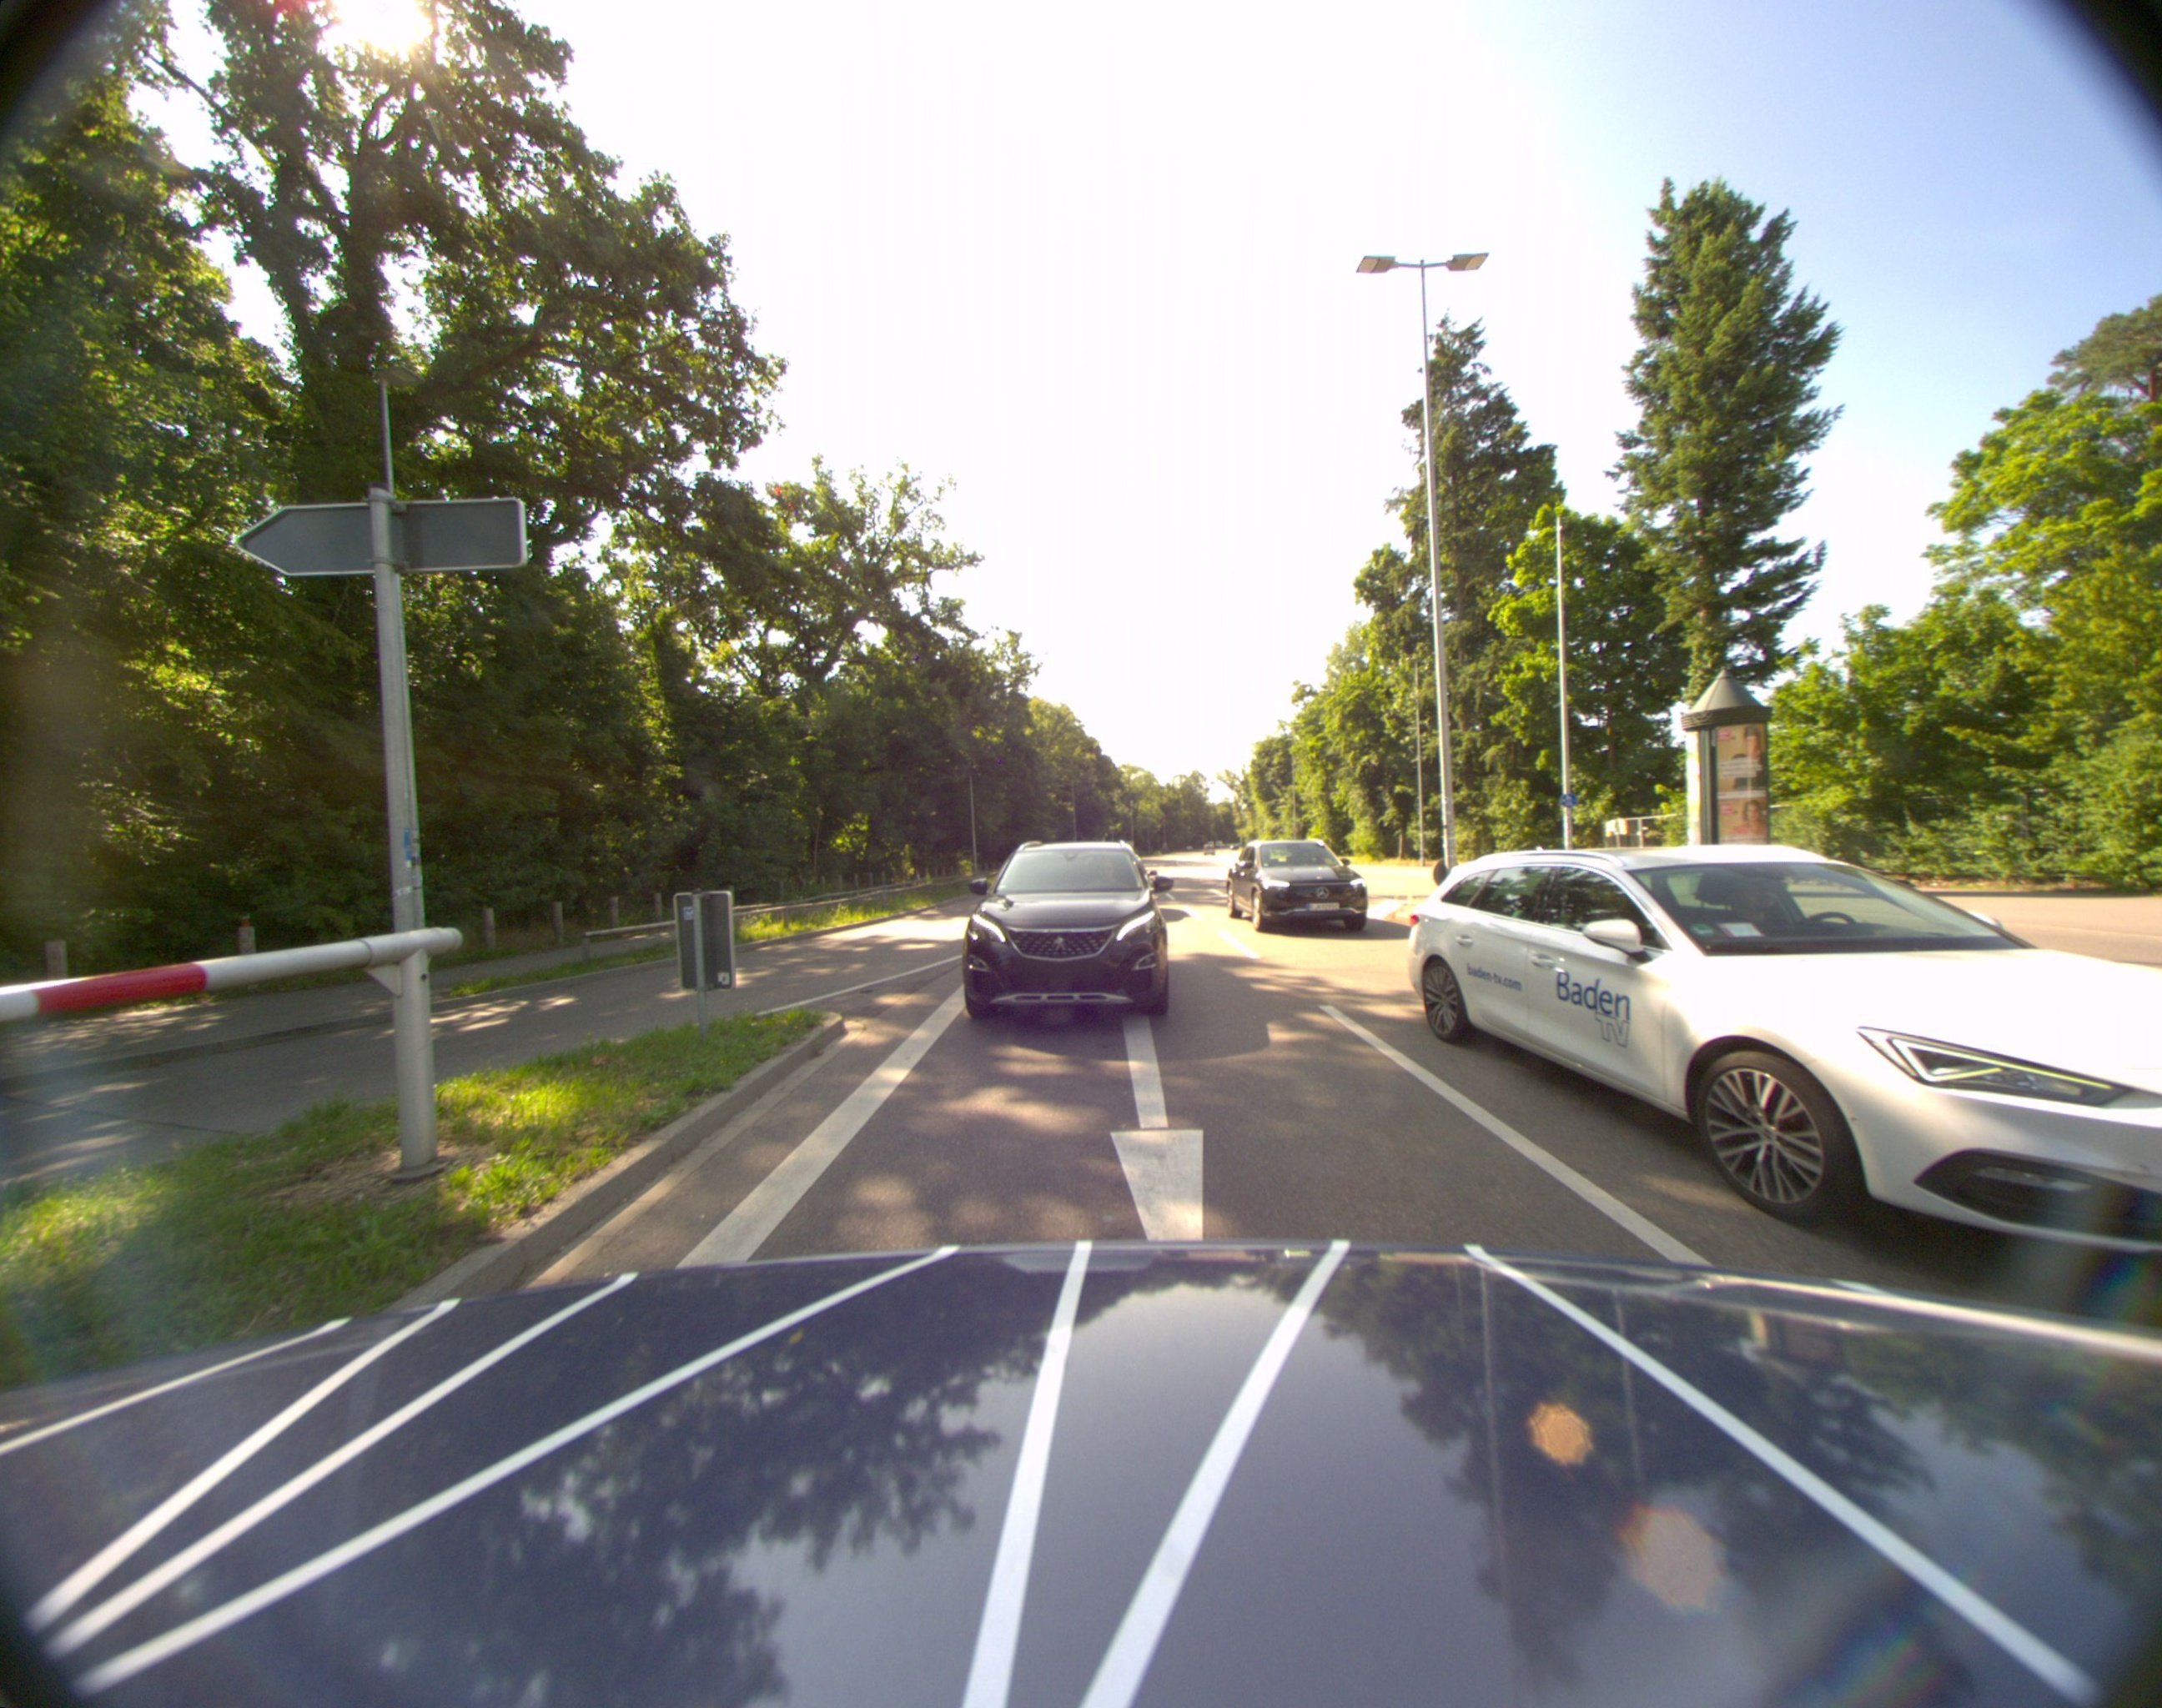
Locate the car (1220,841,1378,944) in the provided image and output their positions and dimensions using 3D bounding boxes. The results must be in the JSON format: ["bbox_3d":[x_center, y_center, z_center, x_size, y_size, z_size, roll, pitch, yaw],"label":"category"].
[{"bbox_3d":[3.866,0.602,14.238,1.809,1.587,4.273,-2,0,2],"label":"car"}]

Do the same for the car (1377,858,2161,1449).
[{"bbox_3d":[3.457,0.785,4.305,1.729,1.418,4.719,-1,1,0],"label":"car"}]

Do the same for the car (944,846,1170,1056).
[{"bbox_3d":[-0.141,0.743,8.100,1.702,1.581,4.319,-2,1,1],"label":"car"}]

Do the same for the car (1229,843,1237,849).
[{"bbox_3d":[43.625,-2.291,217.789,1.855,1.608,4.002,-2,1,8],"label":"car"}]

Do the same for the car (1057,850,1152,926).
[{"bbox_3d":[0.593,0.708,17.883,1.932,1.499,4.000,-2,1,3],"label":"car"}]

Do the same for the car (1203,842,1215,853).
[{"bbox_3d":[22.259,-1.153,132.215,1.876,1.849,4.002,-2,1,8],"label":"car"}]
